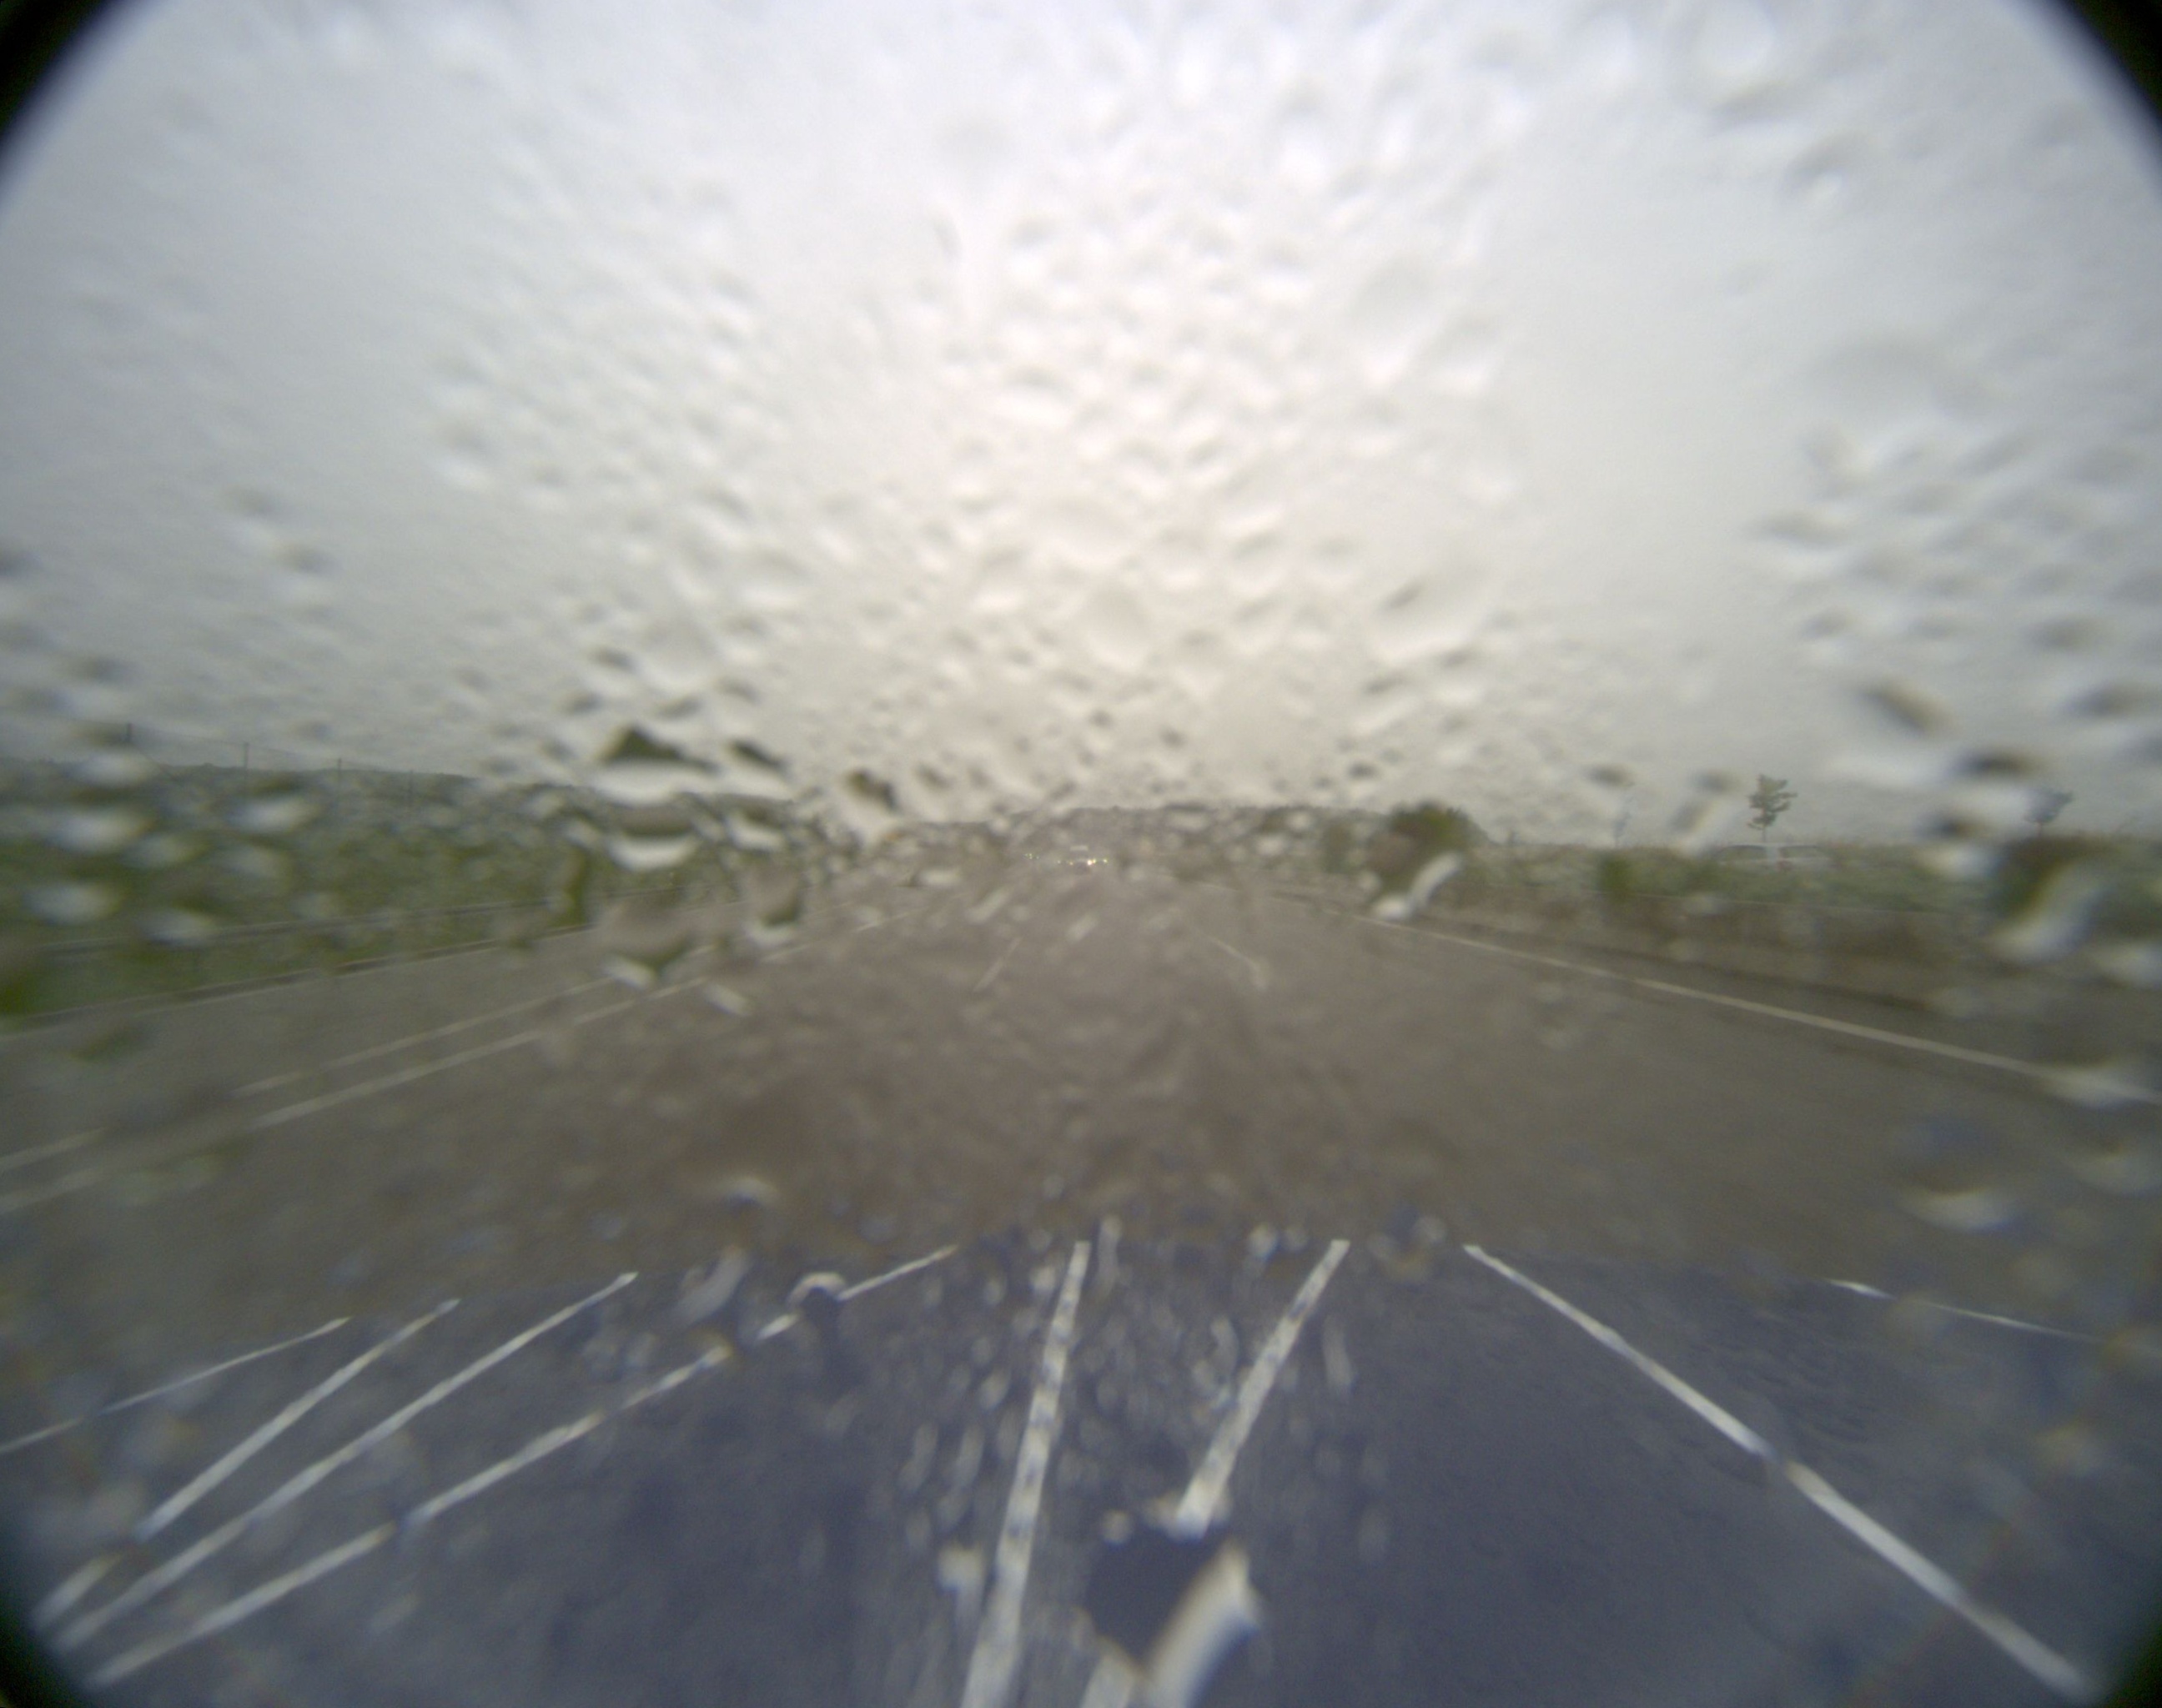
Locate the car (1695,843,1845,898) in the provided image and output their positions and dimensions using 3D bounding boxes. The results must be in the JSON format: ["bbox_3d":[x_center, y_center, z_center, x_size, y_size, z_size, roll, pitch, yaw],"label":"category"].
[{"bbox_3d":[19.365,0.405,21.516,1.362,1.374,3.204,-2,1,1],"label":"car"}]

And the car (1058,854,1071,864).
[{"bbox_3d":[-2.693,0.819,122.312,1.999,1.521,3.999,-2,0,-1],"label":"car"}]

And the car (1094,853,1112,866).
[{"bbox_3d":[2.920,0.746,101.518,1.999,1.608,3.999,-2,0,-3],"label":"car"}]

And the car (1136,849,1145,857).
[{"bbox_3d":[13.309,-0.295,170.210,1.499,1.717,3.172,-2,0,-2],"label":"car"}]

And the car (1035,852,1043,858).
[{"bbox_3d":[-11.313,0.207,206.565,1.999,1.543,3.999,-2,0,-1],"label":"car"}]

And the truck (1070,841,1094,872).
[{"bbox_3d":[0.090,0.126,72.041,1.999,2.699,7.998,-2,1,0],"label":"truck"}]
